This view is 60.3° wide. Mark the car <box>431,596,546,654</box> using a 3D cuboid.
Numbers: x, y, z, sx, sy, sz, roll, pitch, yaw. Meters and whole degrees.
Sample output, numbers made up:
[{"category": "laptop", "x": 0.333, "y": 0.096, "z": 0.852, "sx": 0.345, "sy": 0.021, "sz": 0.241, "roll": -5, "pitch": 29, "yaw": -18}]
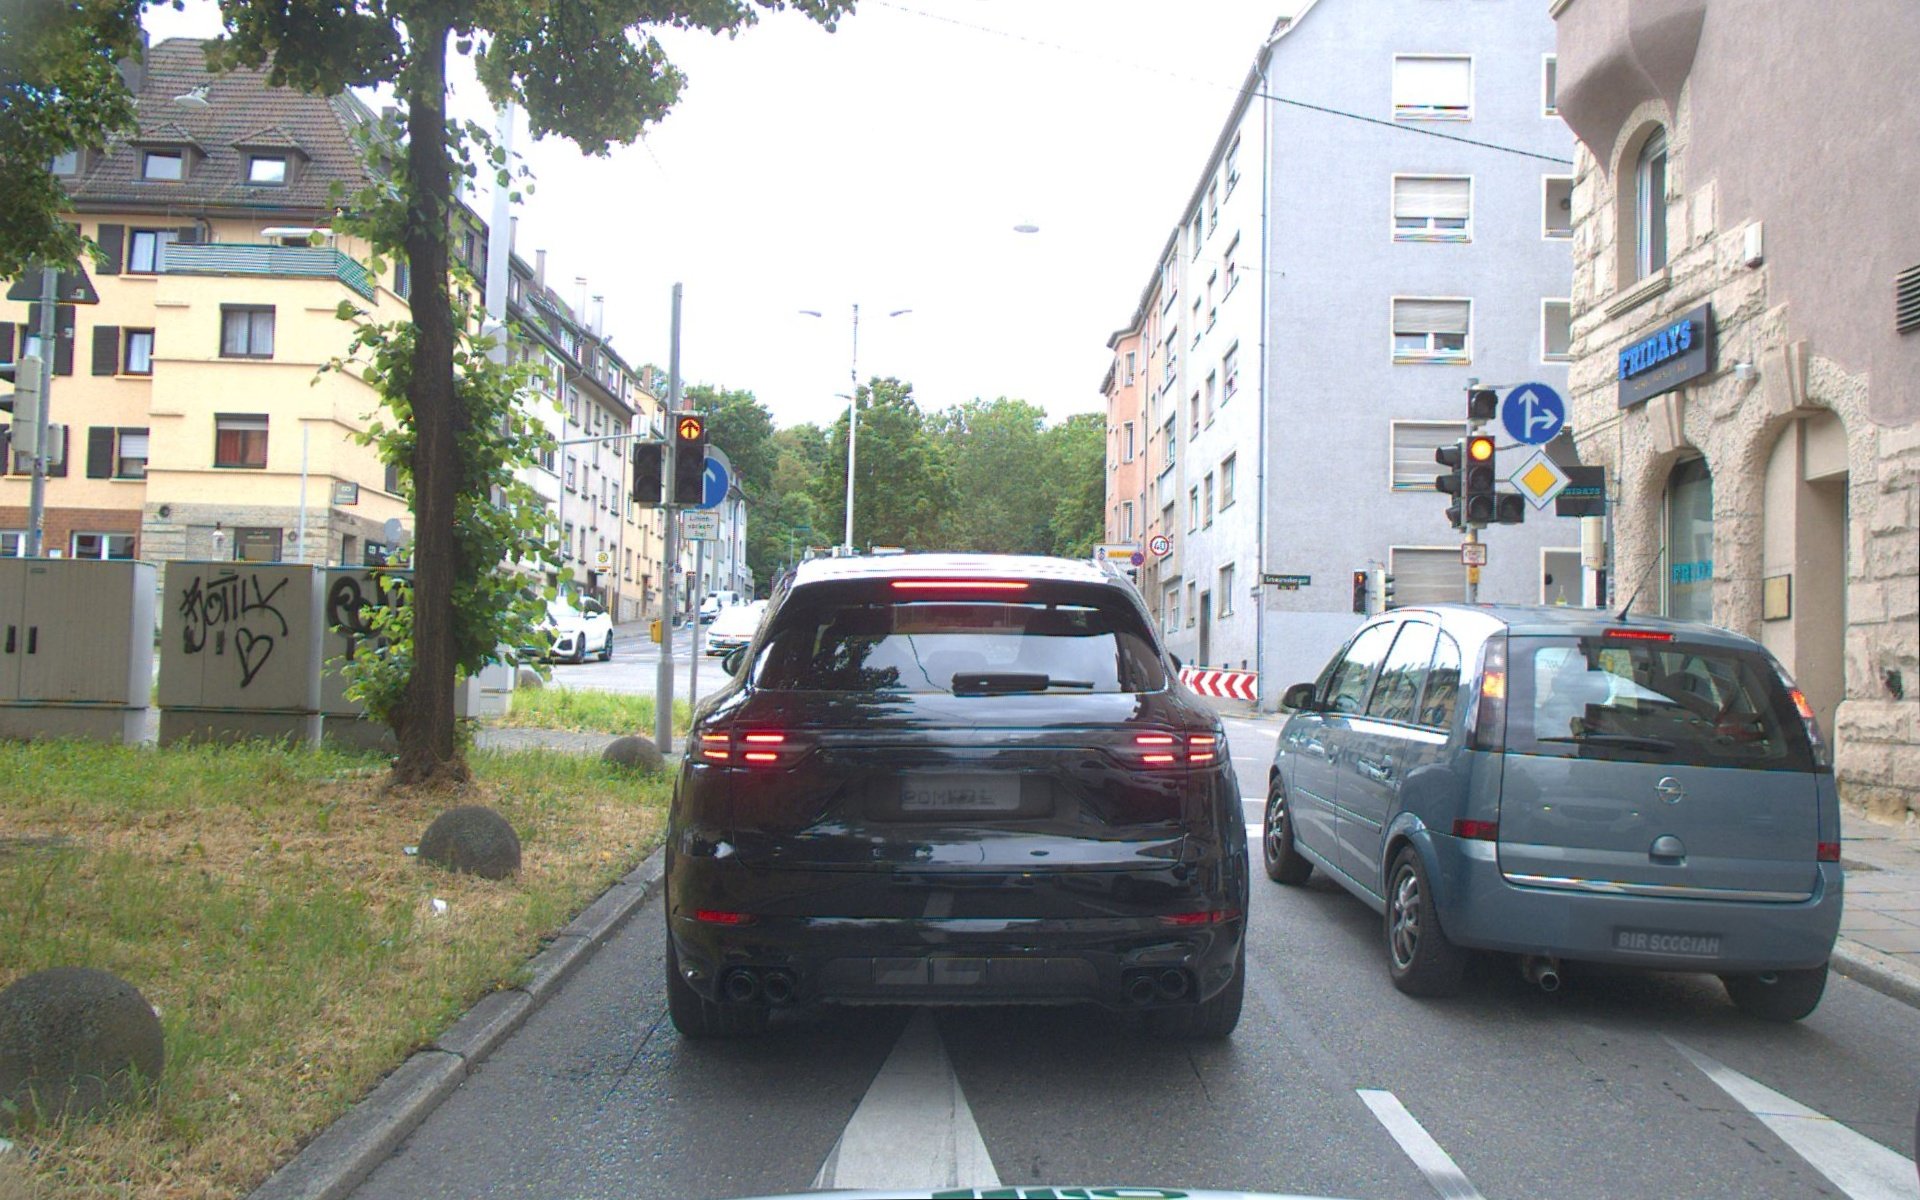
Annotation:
[{"category": "car", "x": -13.168, "y": 0.684, "z": 46.423, "sx": 1.805, "sy": 1.512, "sz": 3.900, "roll": 1, "pitch": 0, "yaw": 5}]

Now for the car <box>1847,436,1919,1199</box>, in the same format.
[{"category": "car", "x": 2.897, "y": 0.643, "z": 1.070, "sx": 1.936, "sy": 1.806, "sz": 4.674, "roll": 4, "pitch": 0, "yaw": -2}]

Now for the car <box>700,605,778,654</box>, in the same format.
[{"category": "car", "x": -6.697, "y": 0.878, "z": 50.455, "sx": 1.824, "sy": 1.412, "sz": 4.094, "roll": 1, "pitch": 0, "yaw": 0}]

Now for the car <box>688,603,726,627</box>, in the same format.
[{"category": "car", "x": -15.059, "y": 0.890, "z": 98.598, "sx": 1.703, "sy": 1.411, "sz": 3.813, "roll": 1, "pitch": 0, "yaw": 0}]

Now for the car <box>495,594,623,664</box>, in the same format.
[{"category": "car", "x": -10.131, "y": 0.712, "z": 42.156, "sx": 1.932, "sy": 1.638, "sz": 4.560, "roll": 1, "pitch": 0, "yaw": 3}]

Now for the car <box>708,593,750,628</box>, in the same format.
[{"category": "car", "x": -14.528, "y": 0.647, "z": 104.248, "sx": 1.975, "sy": 2.081, "sz": 4.666, "roll": 1, "pitch": 0, "yaw": 0}]

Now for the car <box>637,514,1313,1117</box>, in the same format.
[{"category": "car", "x": 0.019, "y": 0.619, "z": 6.702, "sx": 1.916, "sy": 1.704, "sz": 3.999, "roll": 0, "pitch": 0, "yaw": -1}]

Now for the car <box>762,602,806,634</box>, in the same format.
[{"category": "car", "x": -8.614, "y": 0.900, "z": 81.249, "sx": 1.585, "sy": 1.506, "sz": 3.824, "roll": 1, "pitch": -1, "yaw": 3}]

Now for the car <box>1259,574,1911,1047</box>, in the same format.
[{"category": "car", "x": 2.625, "y": 0.778, "z": 7.893, "sx": 1.596, "sy": 1.625, "sz": 3.668, "roll": 4, "pitch": 0, "yaw": -1}]
